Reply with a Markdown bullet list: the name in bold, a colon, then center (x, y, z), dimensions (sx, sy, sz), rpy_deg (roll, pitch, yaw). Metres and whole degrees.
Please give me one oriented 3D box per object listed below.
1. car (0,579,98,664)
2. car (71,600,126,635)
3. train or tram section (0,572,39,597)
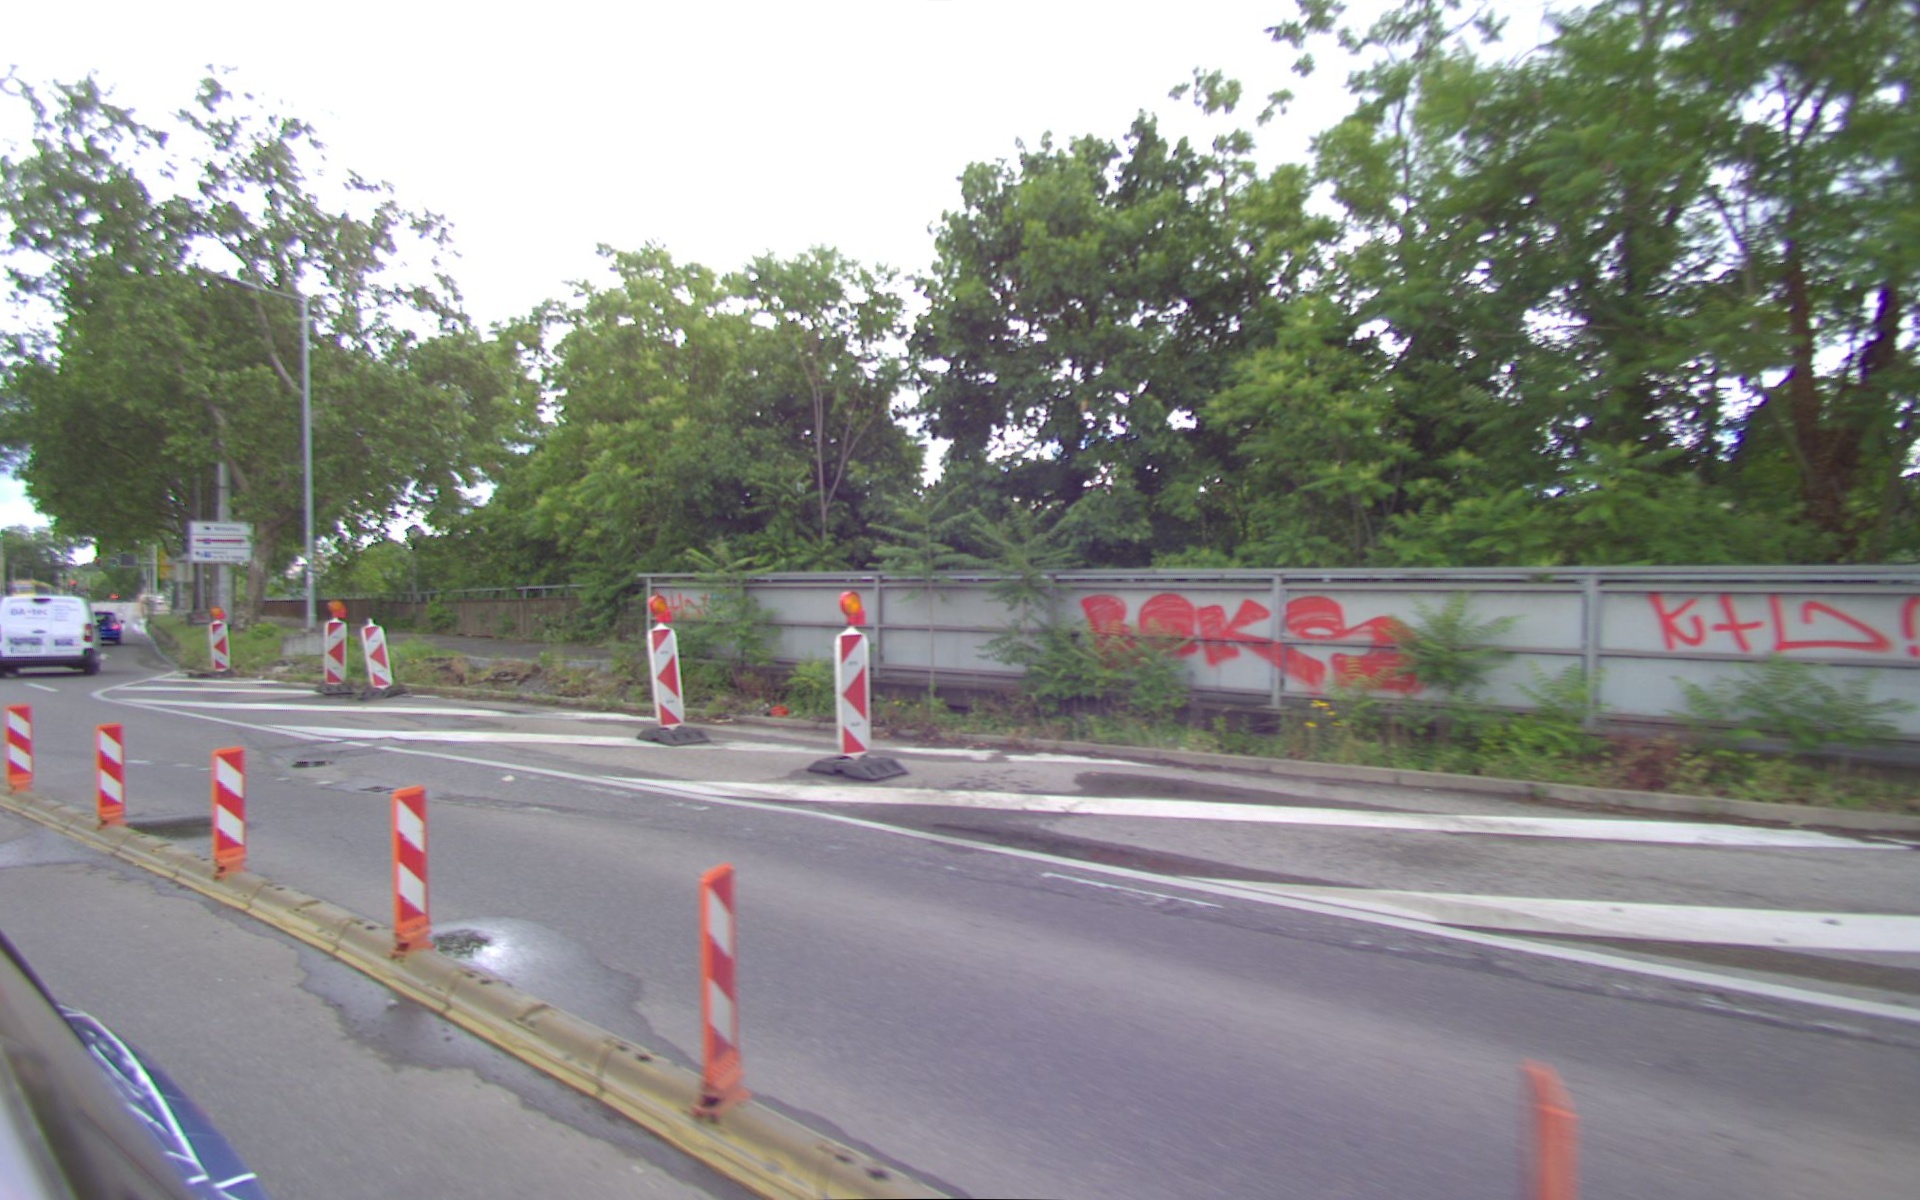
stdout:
- **car**: center (-21.397, 0.423, 23.493), dimensions (1.841, 1.795, 4.752), rpy_deg (-1, 1, -44)
- **car**: center (-37.962, 0.767, 44.559), dimensions (1.674, 1.472, 3.916), rpy_deg (1, -2, -43)
- **train or tram section**: center (-140.414, -2.358, 151.224), dimensions (3.683, 3.390, 17.584), rpy_deg (2, 0, -41)
